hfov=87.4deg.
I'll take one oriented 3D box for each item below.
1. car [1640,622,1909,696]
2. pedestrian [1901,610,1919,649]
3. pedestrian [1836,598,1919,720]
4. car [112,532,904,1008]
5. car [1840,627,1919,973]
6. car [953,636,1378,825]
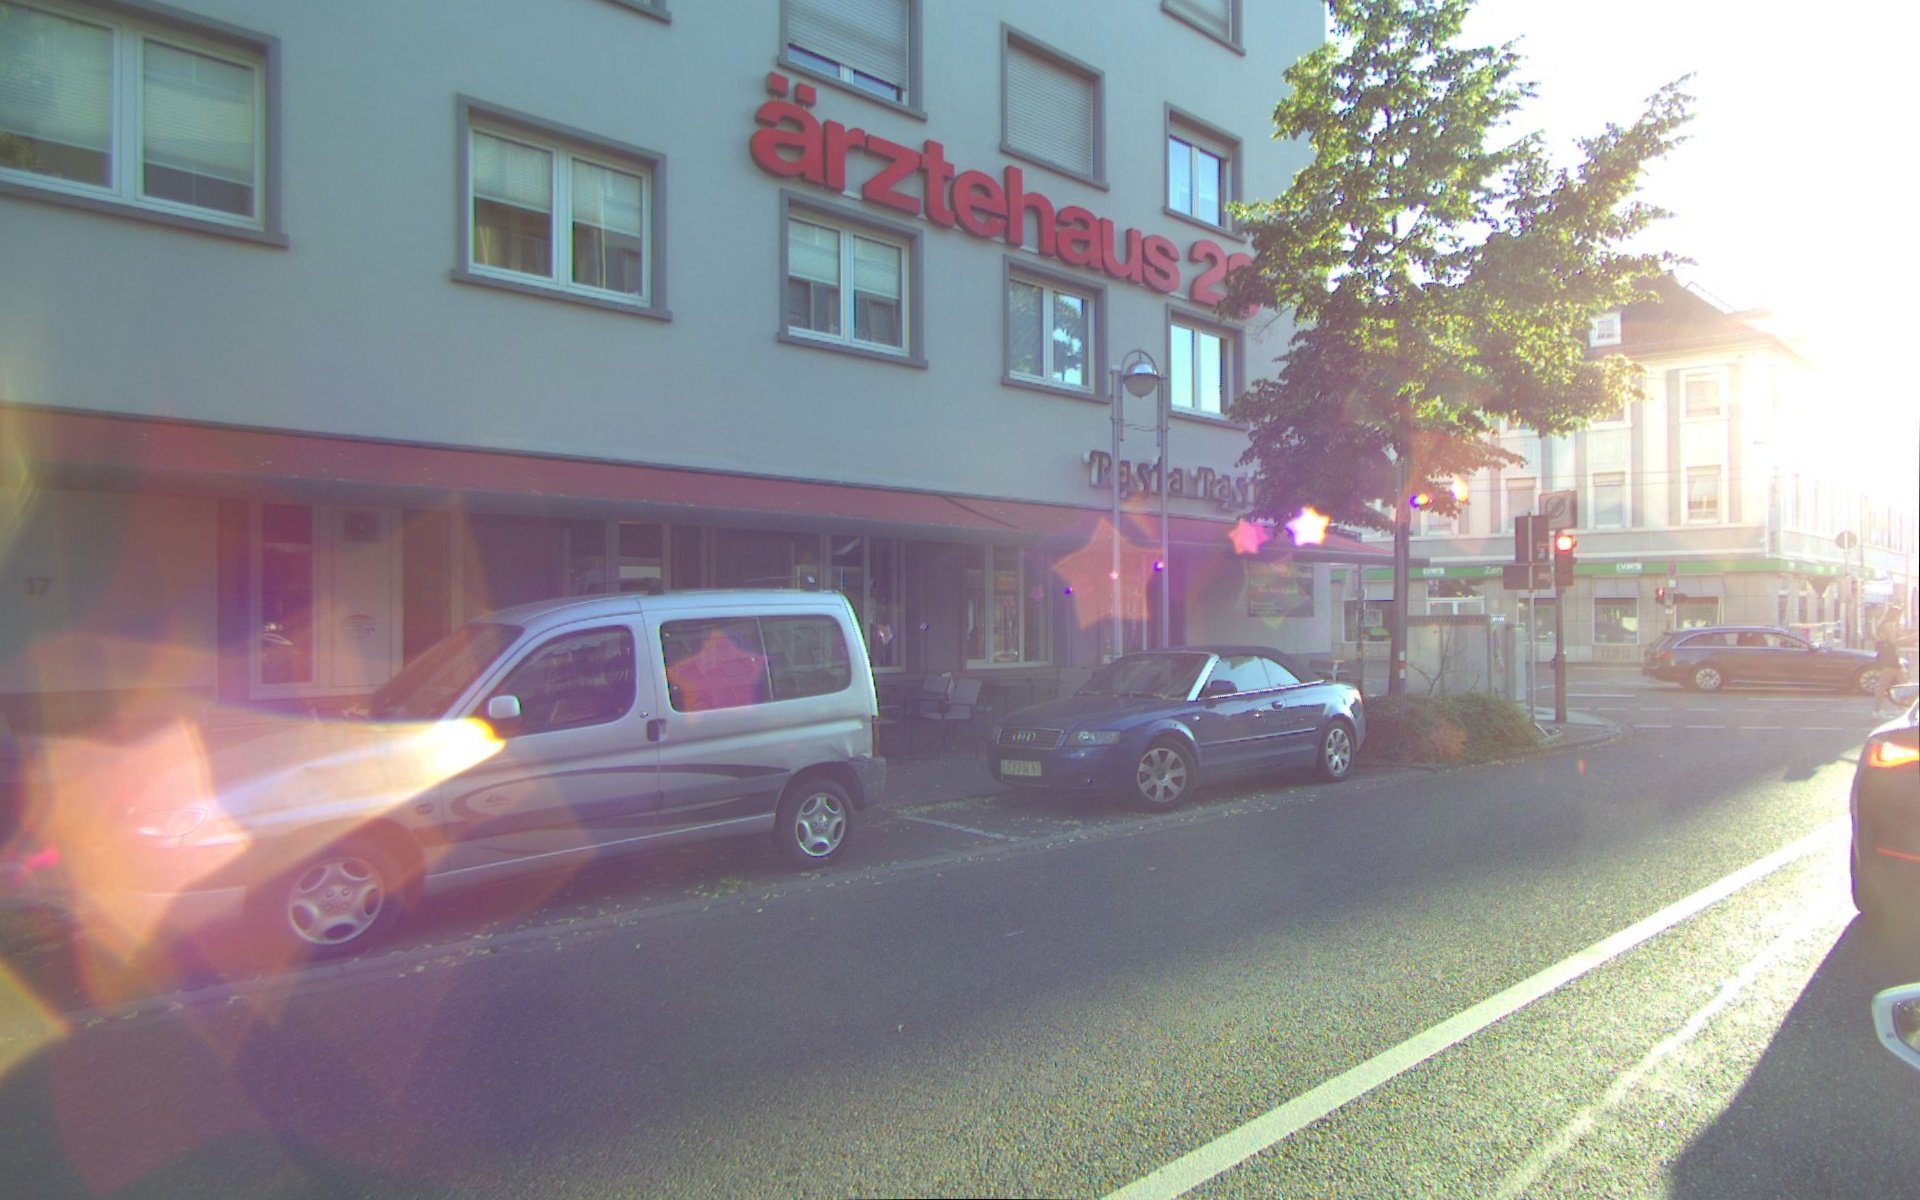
[{"bbox_3d":[17.892,1.240,22.359,4.339,1.493,1.815,-1,-1,28],"label":"car"},{"bbox_3d":[46.804,1.456,49.417,0.626,1.901,0.638,1,0,-38],"label":"pedestrian"},{"bbox_3d":[14.784,0.937,16.093,0.987,1.885,0.638,-2,-2,32],"label":"pedestrian"},{"bbox_3d":[-2.435,0.761,6.021,4.022,1.912,1.655,1,-4,-41],"label":"car"},{"bbox_3d":[6.045,0.878,5.099,4.188,1.448,1.723,1,0,-39],"label":"car"},{"bbox_3d":[2.118,1.094,9.700,4.244,1.434,1.710,1,-4,-39],"label":"car"}]
